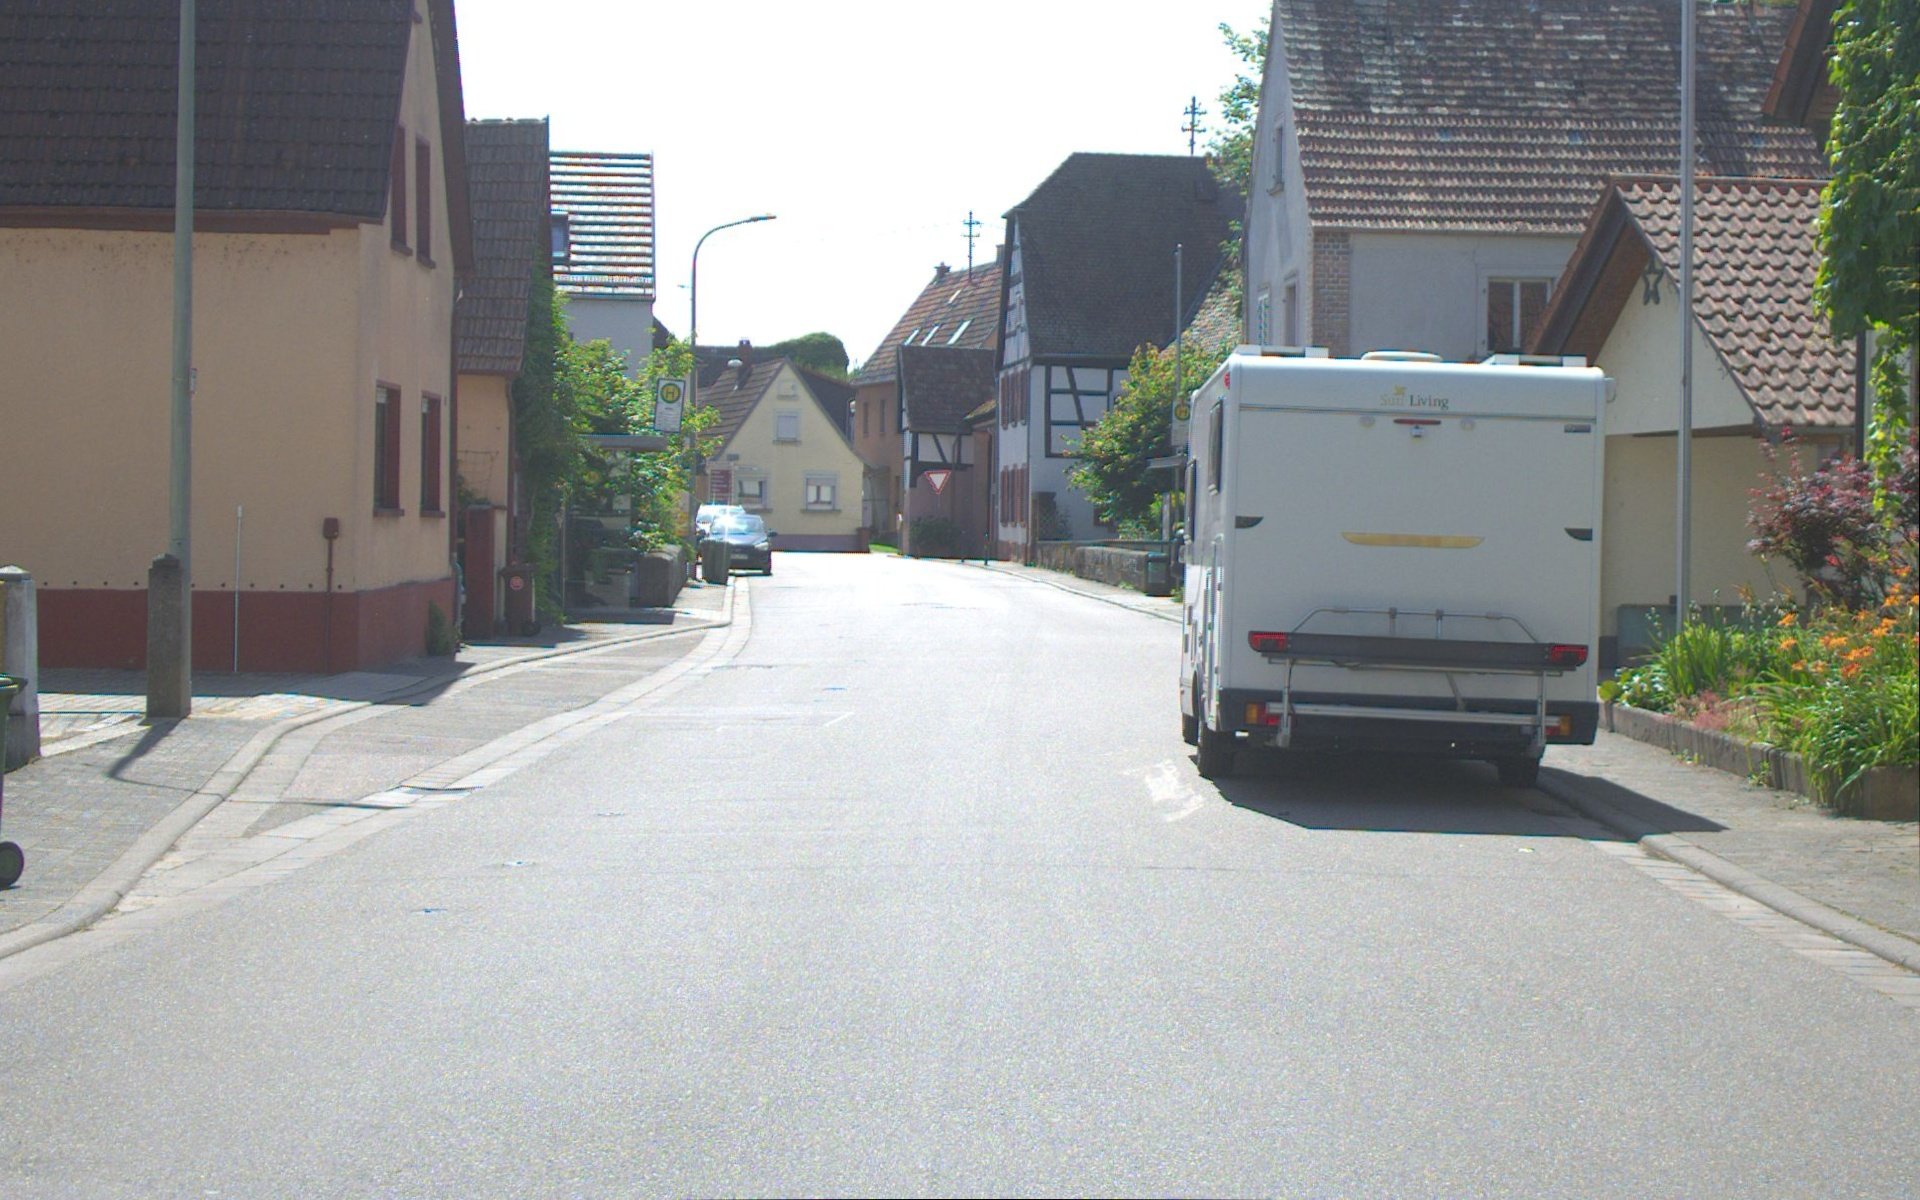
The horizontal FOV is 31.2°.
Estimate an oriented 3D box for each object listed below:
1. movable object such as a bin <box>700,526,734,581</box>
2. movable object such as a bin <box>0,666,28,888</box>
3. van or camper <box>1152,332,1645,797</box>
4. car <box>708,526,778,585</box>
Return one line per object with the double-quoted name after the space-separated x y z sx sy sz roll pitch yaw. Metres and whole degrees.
-5.189 -1.000 73.487 0.688 1.181 0.714 0 1 0 "movable object such as a bin"
-4.412 0.766 14.962 0.539 0.946 0.553 2 1 0 "movable object such as a bin"
2.690 -0.247 22.372 2.521 2.687 4.555 1 1 -1 "van or camper"
-5.408 -1.130 85.945 1.511 1.431 3.511 0 1 0 "car"
